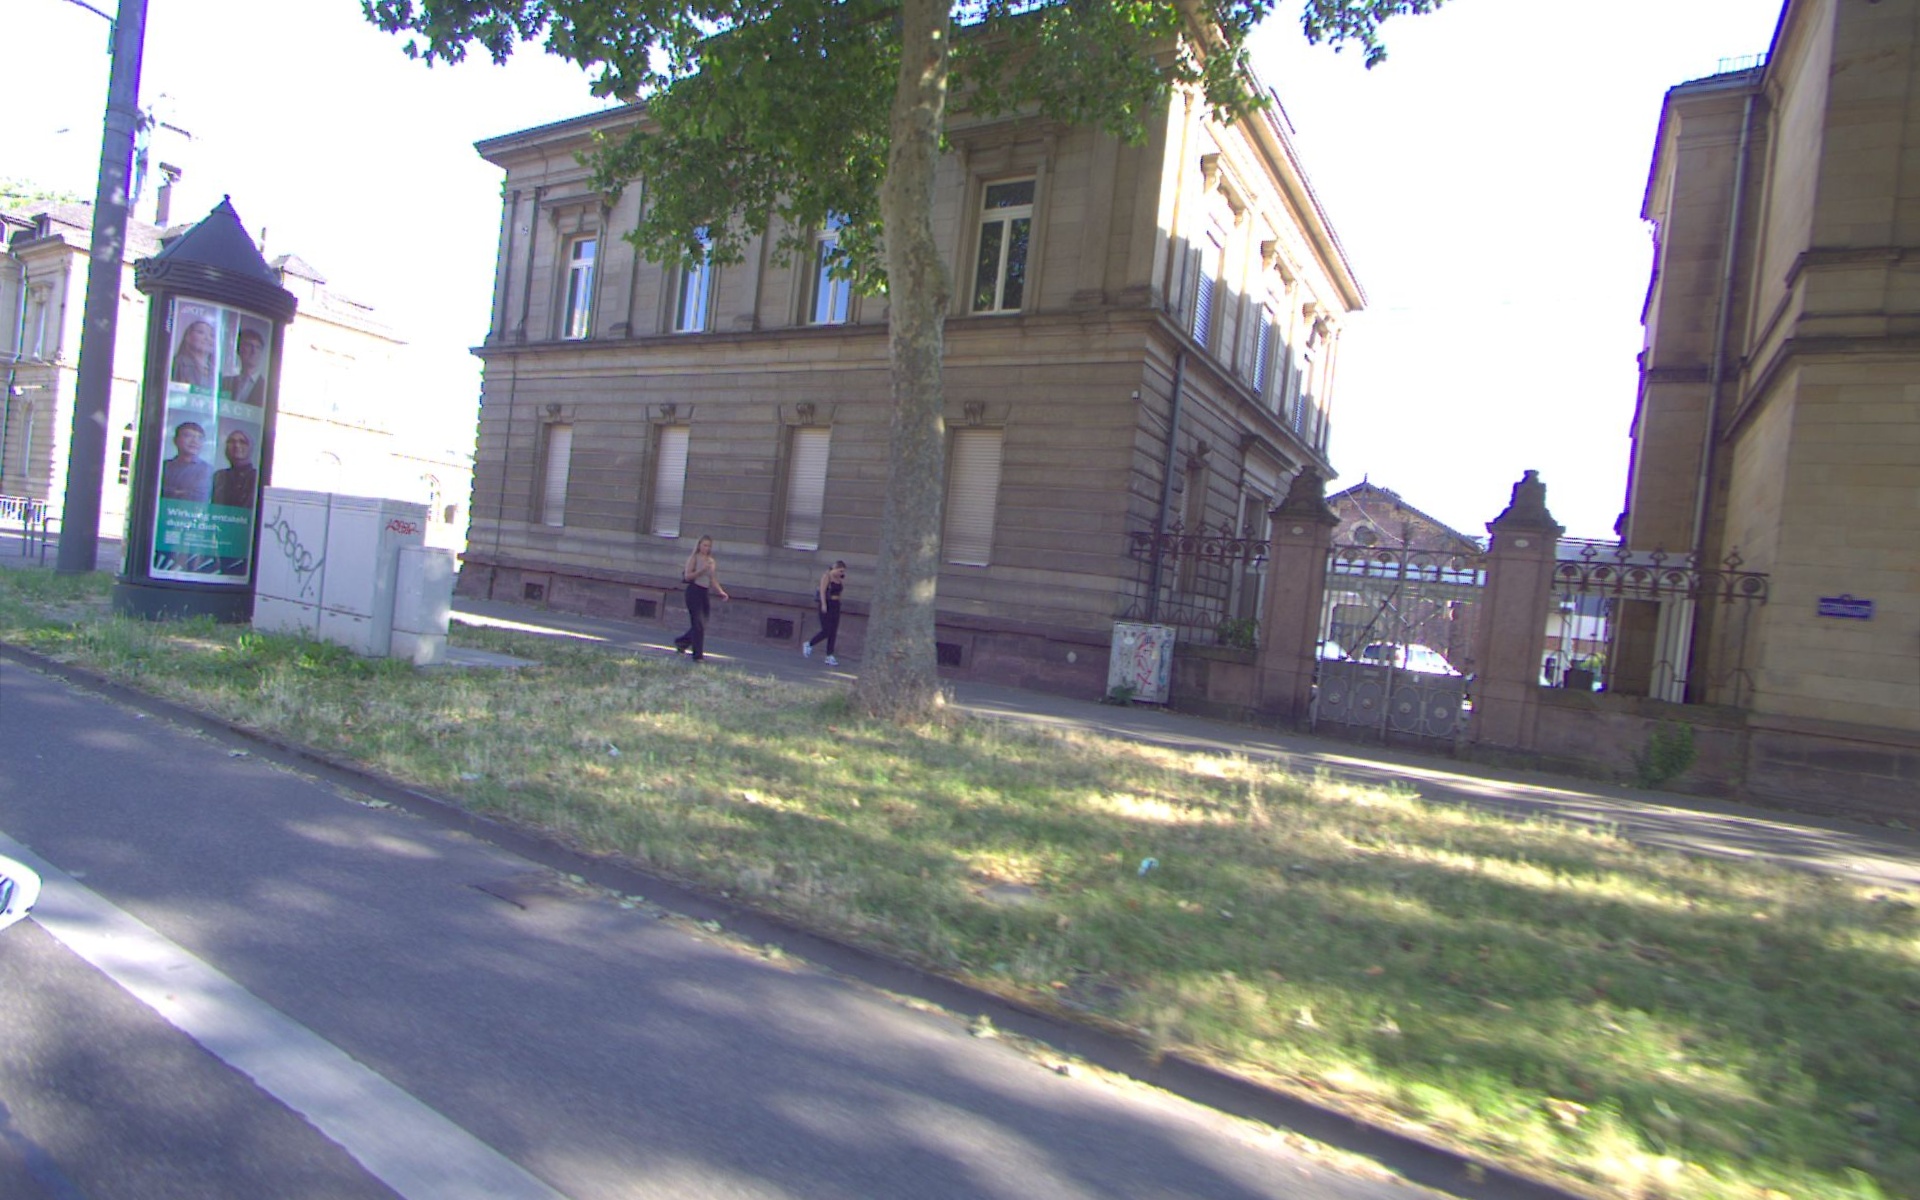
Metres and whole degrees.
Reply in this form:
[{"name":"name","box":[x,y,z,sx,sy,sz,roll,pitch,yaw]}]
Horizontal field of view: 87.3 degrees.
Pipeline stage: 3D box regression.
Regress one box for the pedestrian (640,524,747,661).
[{"name":"pedestrian","box":[-3.622,-0.091,13.684,1.025,1.731,0.770,7,2,33]}]

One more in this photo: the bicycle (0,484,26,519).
[{"name":"bicycle","box":[-36.564,-3.782,37.668,0.752,1.225,2.139,7,2,29]}]

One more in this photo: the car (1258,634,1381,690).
[{"name":"car","box":[12.318,2.134,34.412,3.959,1.505,1.800,6,1,-33]}]

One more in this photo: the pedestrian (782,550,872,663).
[{"name":"pedestrian","box":[-2.055,0.109,15.576,0.970,1.627,0.770,7,2,33]}]

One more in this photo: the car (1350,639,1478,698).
[{"name":"car","box":[14.742,2.228,32.620,3.959,1.505,1.800,6,1,-33]}]
